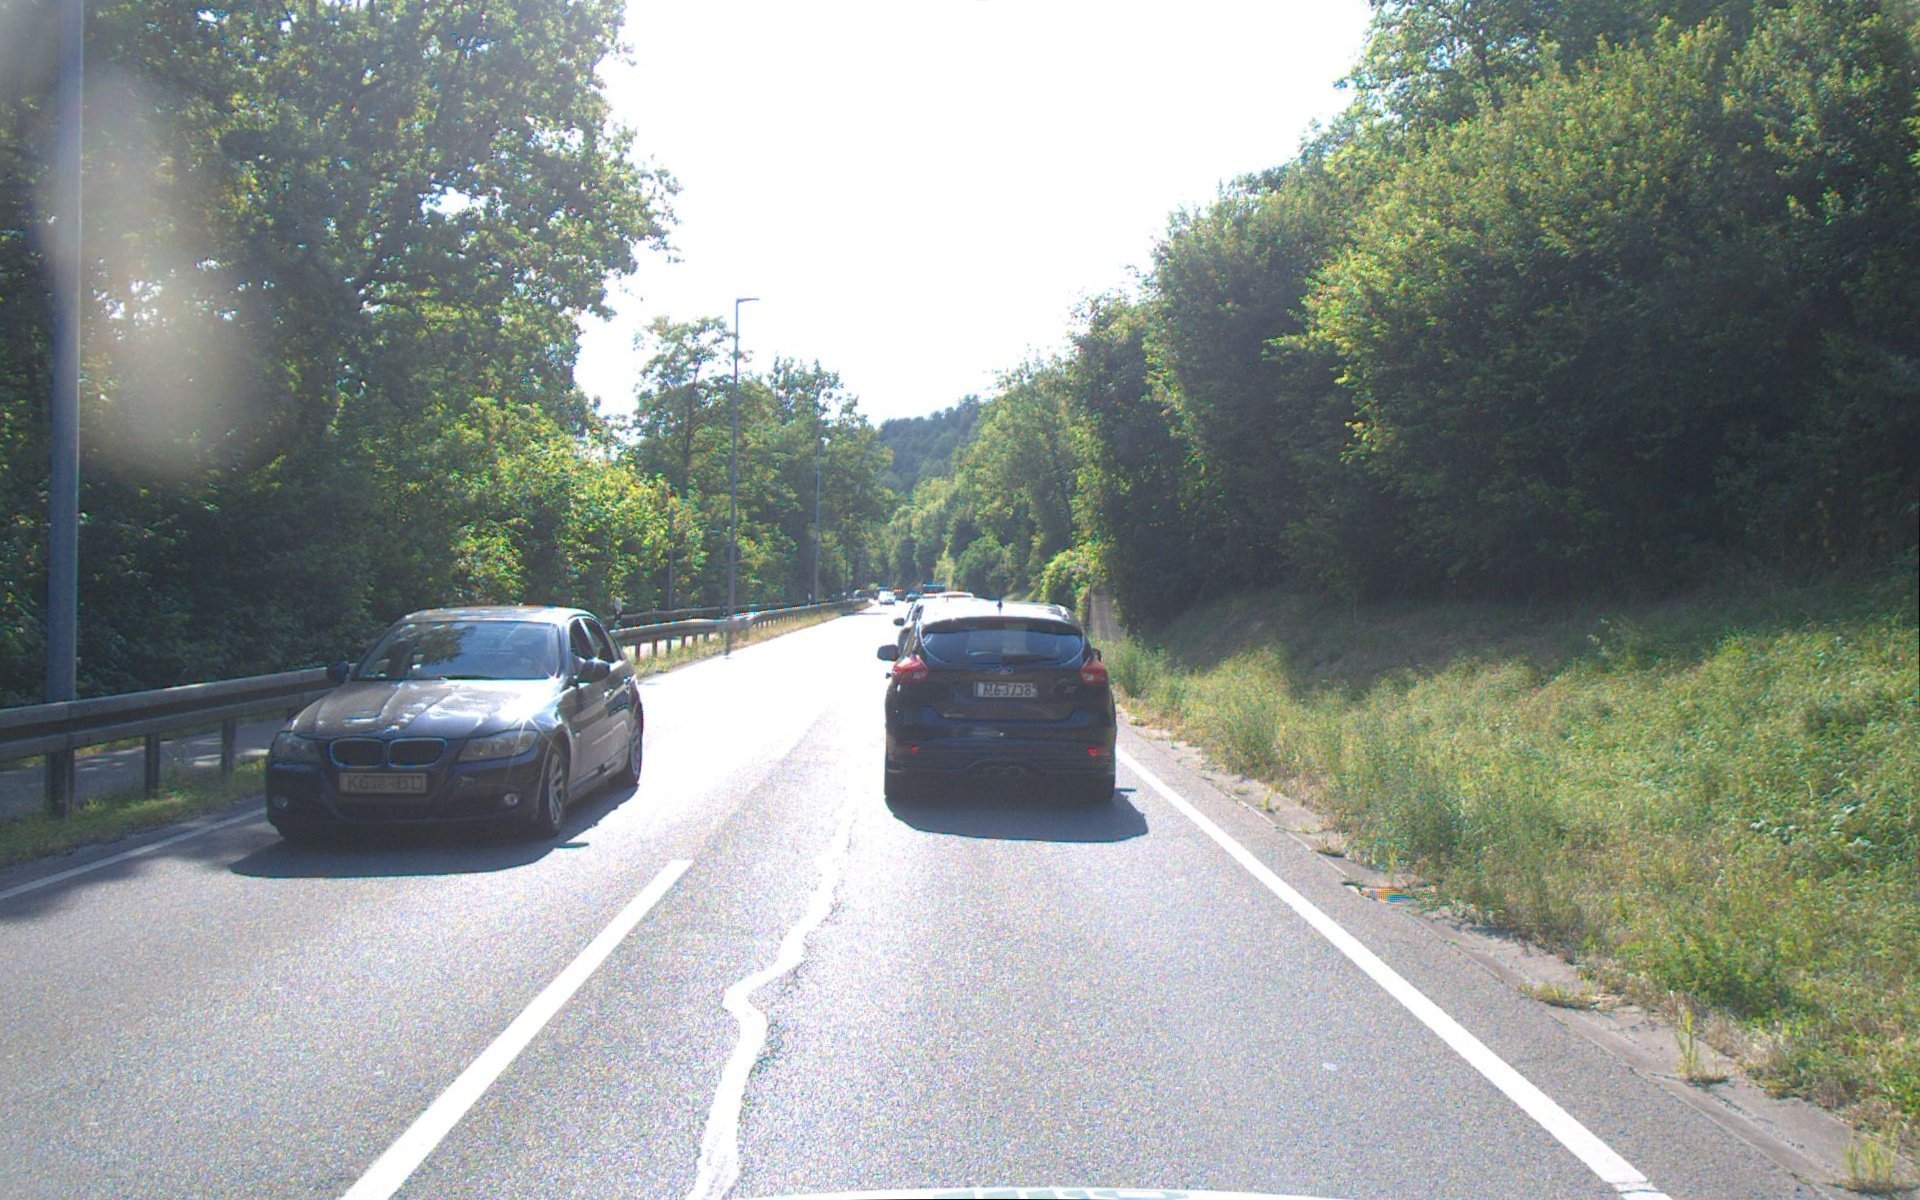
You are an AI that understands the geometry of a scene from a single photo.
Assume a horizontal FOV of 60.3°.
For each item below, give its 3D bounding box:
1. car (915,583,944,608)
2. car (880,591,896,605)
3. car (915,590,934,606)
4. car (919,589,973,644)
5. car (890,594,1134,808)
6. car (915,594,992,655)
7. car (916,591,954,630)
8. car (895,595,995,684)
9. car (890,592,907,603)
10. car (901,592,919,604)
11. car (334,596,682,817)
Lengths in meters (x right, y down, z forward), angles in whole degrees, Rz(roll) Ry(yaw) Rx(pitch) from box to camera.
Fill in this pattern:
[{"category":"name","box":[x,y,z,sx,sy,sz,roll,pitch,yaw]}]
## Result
[{"category":"car","box":[-2.240,-0.323,120.923,1.827,1.812,3.995,0,0,-6]},{"category":"car","box":[-7.658,-0.214,176.874,1.590,1.401,4.046,-1,0,-1]},{"category":"car","box":[-3.505,-0.245,163.885,1.782,1.545,3.999,0,0,-1]},{"category":"car","box":[-0.436,0.472,50.562,1.597,1.624,3.999,0,0,-1]},{"category":"car","box":[0.338,0.709,13.591,1.704,1.482,3.999,1,0,-1]},{"category":"car","box":[-0.172,0.560,40.185,1.768,1.416,3.999,0,0,-1]},{"category":"car","box":[-1.071,0.436,70.780,1.597,1.624,3.999,0,0,-1]},{"category":"car","box":[-0.223,0.644,29.056,1.627,1.443,4.000,0,0,1]},{"category":"car","box":[-8.858,-0.359,238.277,1.956,1.545,3.993,0,0,-8]},{"category":"car","box":[-6.533,-0.210,217.670,1.956,1.545,3.993,0,0,-8]},{"category":"car","box":[-3.333,0.700,13.004,1.657,1.445,4.141,0,0,-1]}]
